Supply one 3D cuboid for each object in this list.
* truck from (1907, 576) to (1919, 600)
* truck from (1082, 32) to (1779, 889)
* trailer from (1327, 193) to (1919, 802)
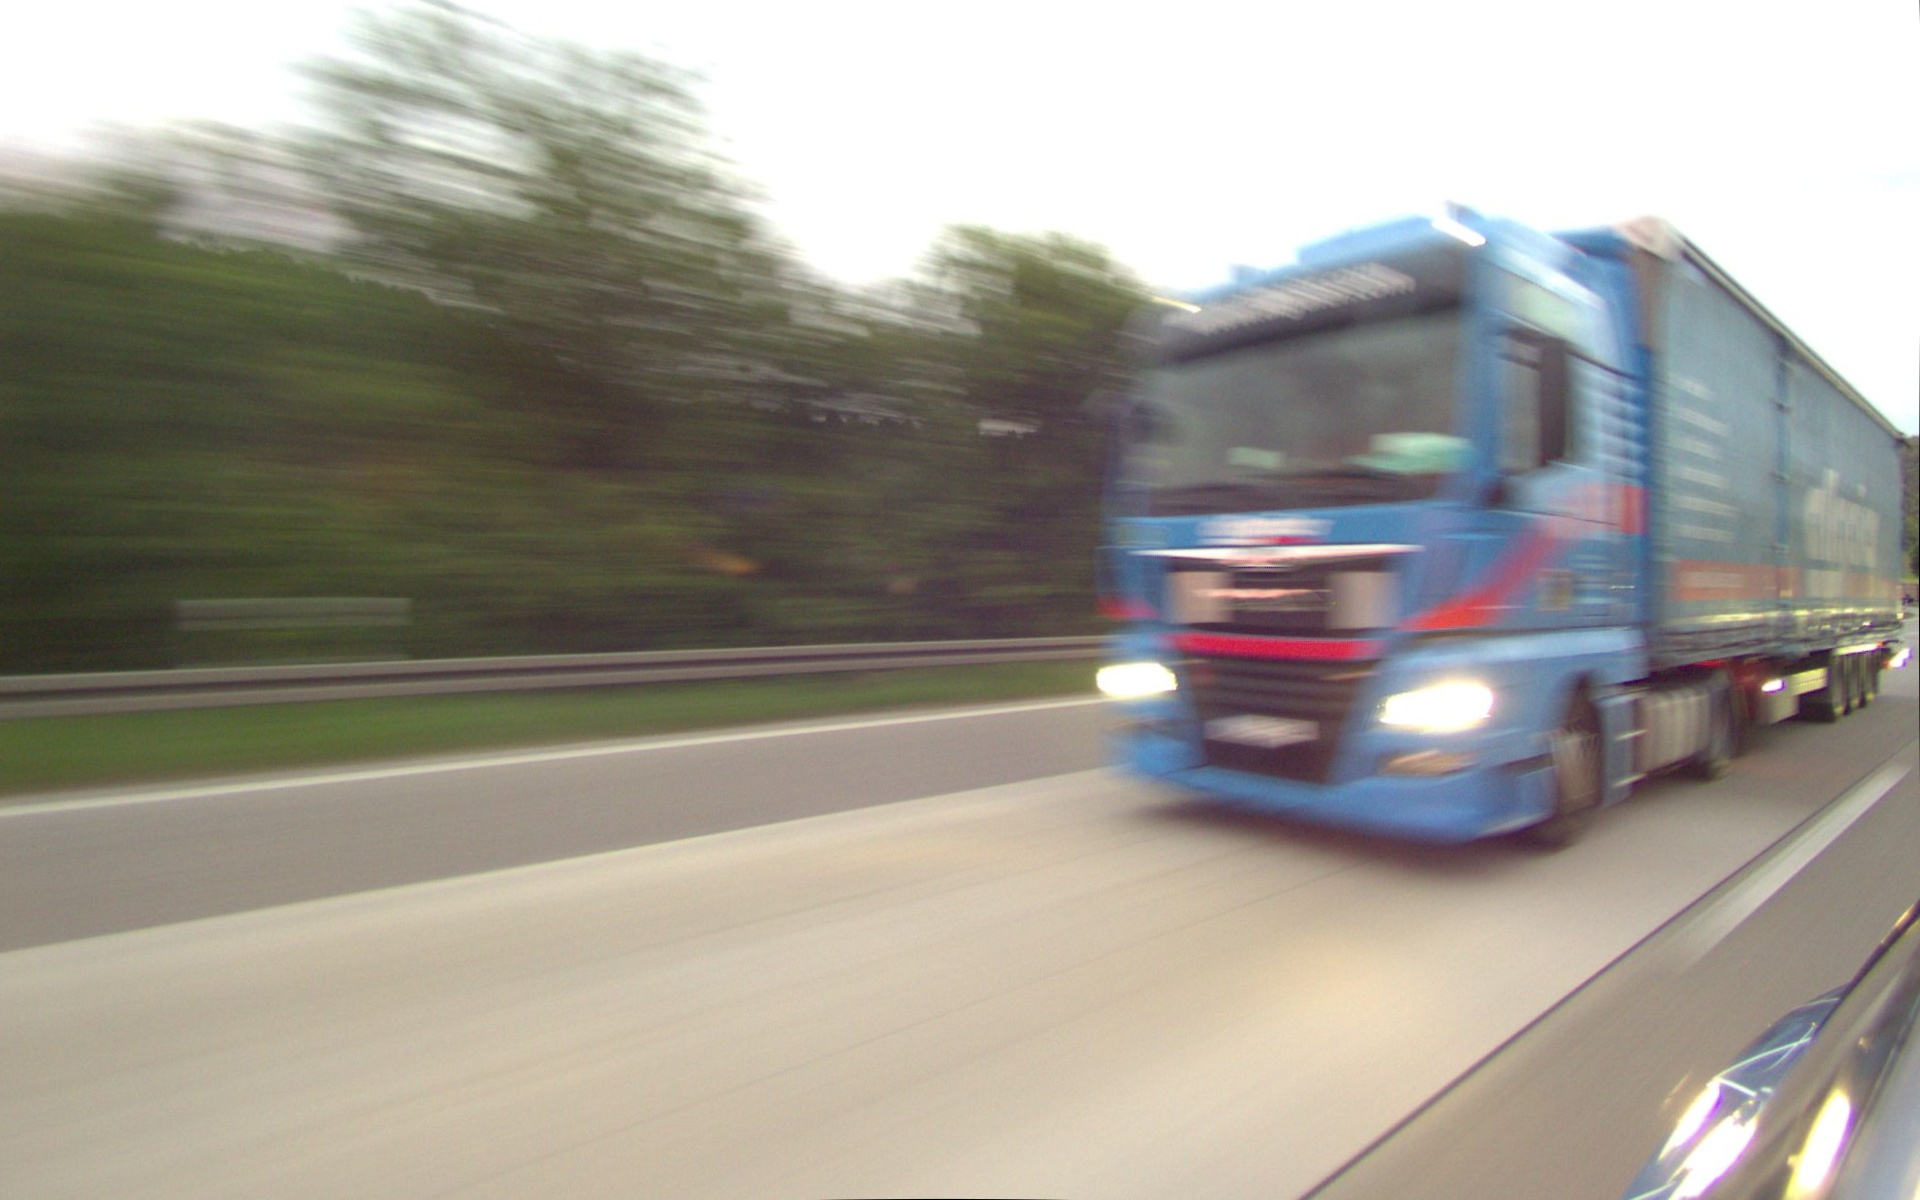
[{"bbox_3d":[168.155,-2.064,177.405,2.838,3.964,11.806,2,2,42],"label":"truck"},{"bbox_3d":[3.881,-0.694,7.716,5.747,4.047,2.741,0,1,-41],"label":"truck"},{"bbox_3d":[9.191,-0.762,12.442,13.503,4.138,2.776,-1,1,-42],"label":"trailer"}]
